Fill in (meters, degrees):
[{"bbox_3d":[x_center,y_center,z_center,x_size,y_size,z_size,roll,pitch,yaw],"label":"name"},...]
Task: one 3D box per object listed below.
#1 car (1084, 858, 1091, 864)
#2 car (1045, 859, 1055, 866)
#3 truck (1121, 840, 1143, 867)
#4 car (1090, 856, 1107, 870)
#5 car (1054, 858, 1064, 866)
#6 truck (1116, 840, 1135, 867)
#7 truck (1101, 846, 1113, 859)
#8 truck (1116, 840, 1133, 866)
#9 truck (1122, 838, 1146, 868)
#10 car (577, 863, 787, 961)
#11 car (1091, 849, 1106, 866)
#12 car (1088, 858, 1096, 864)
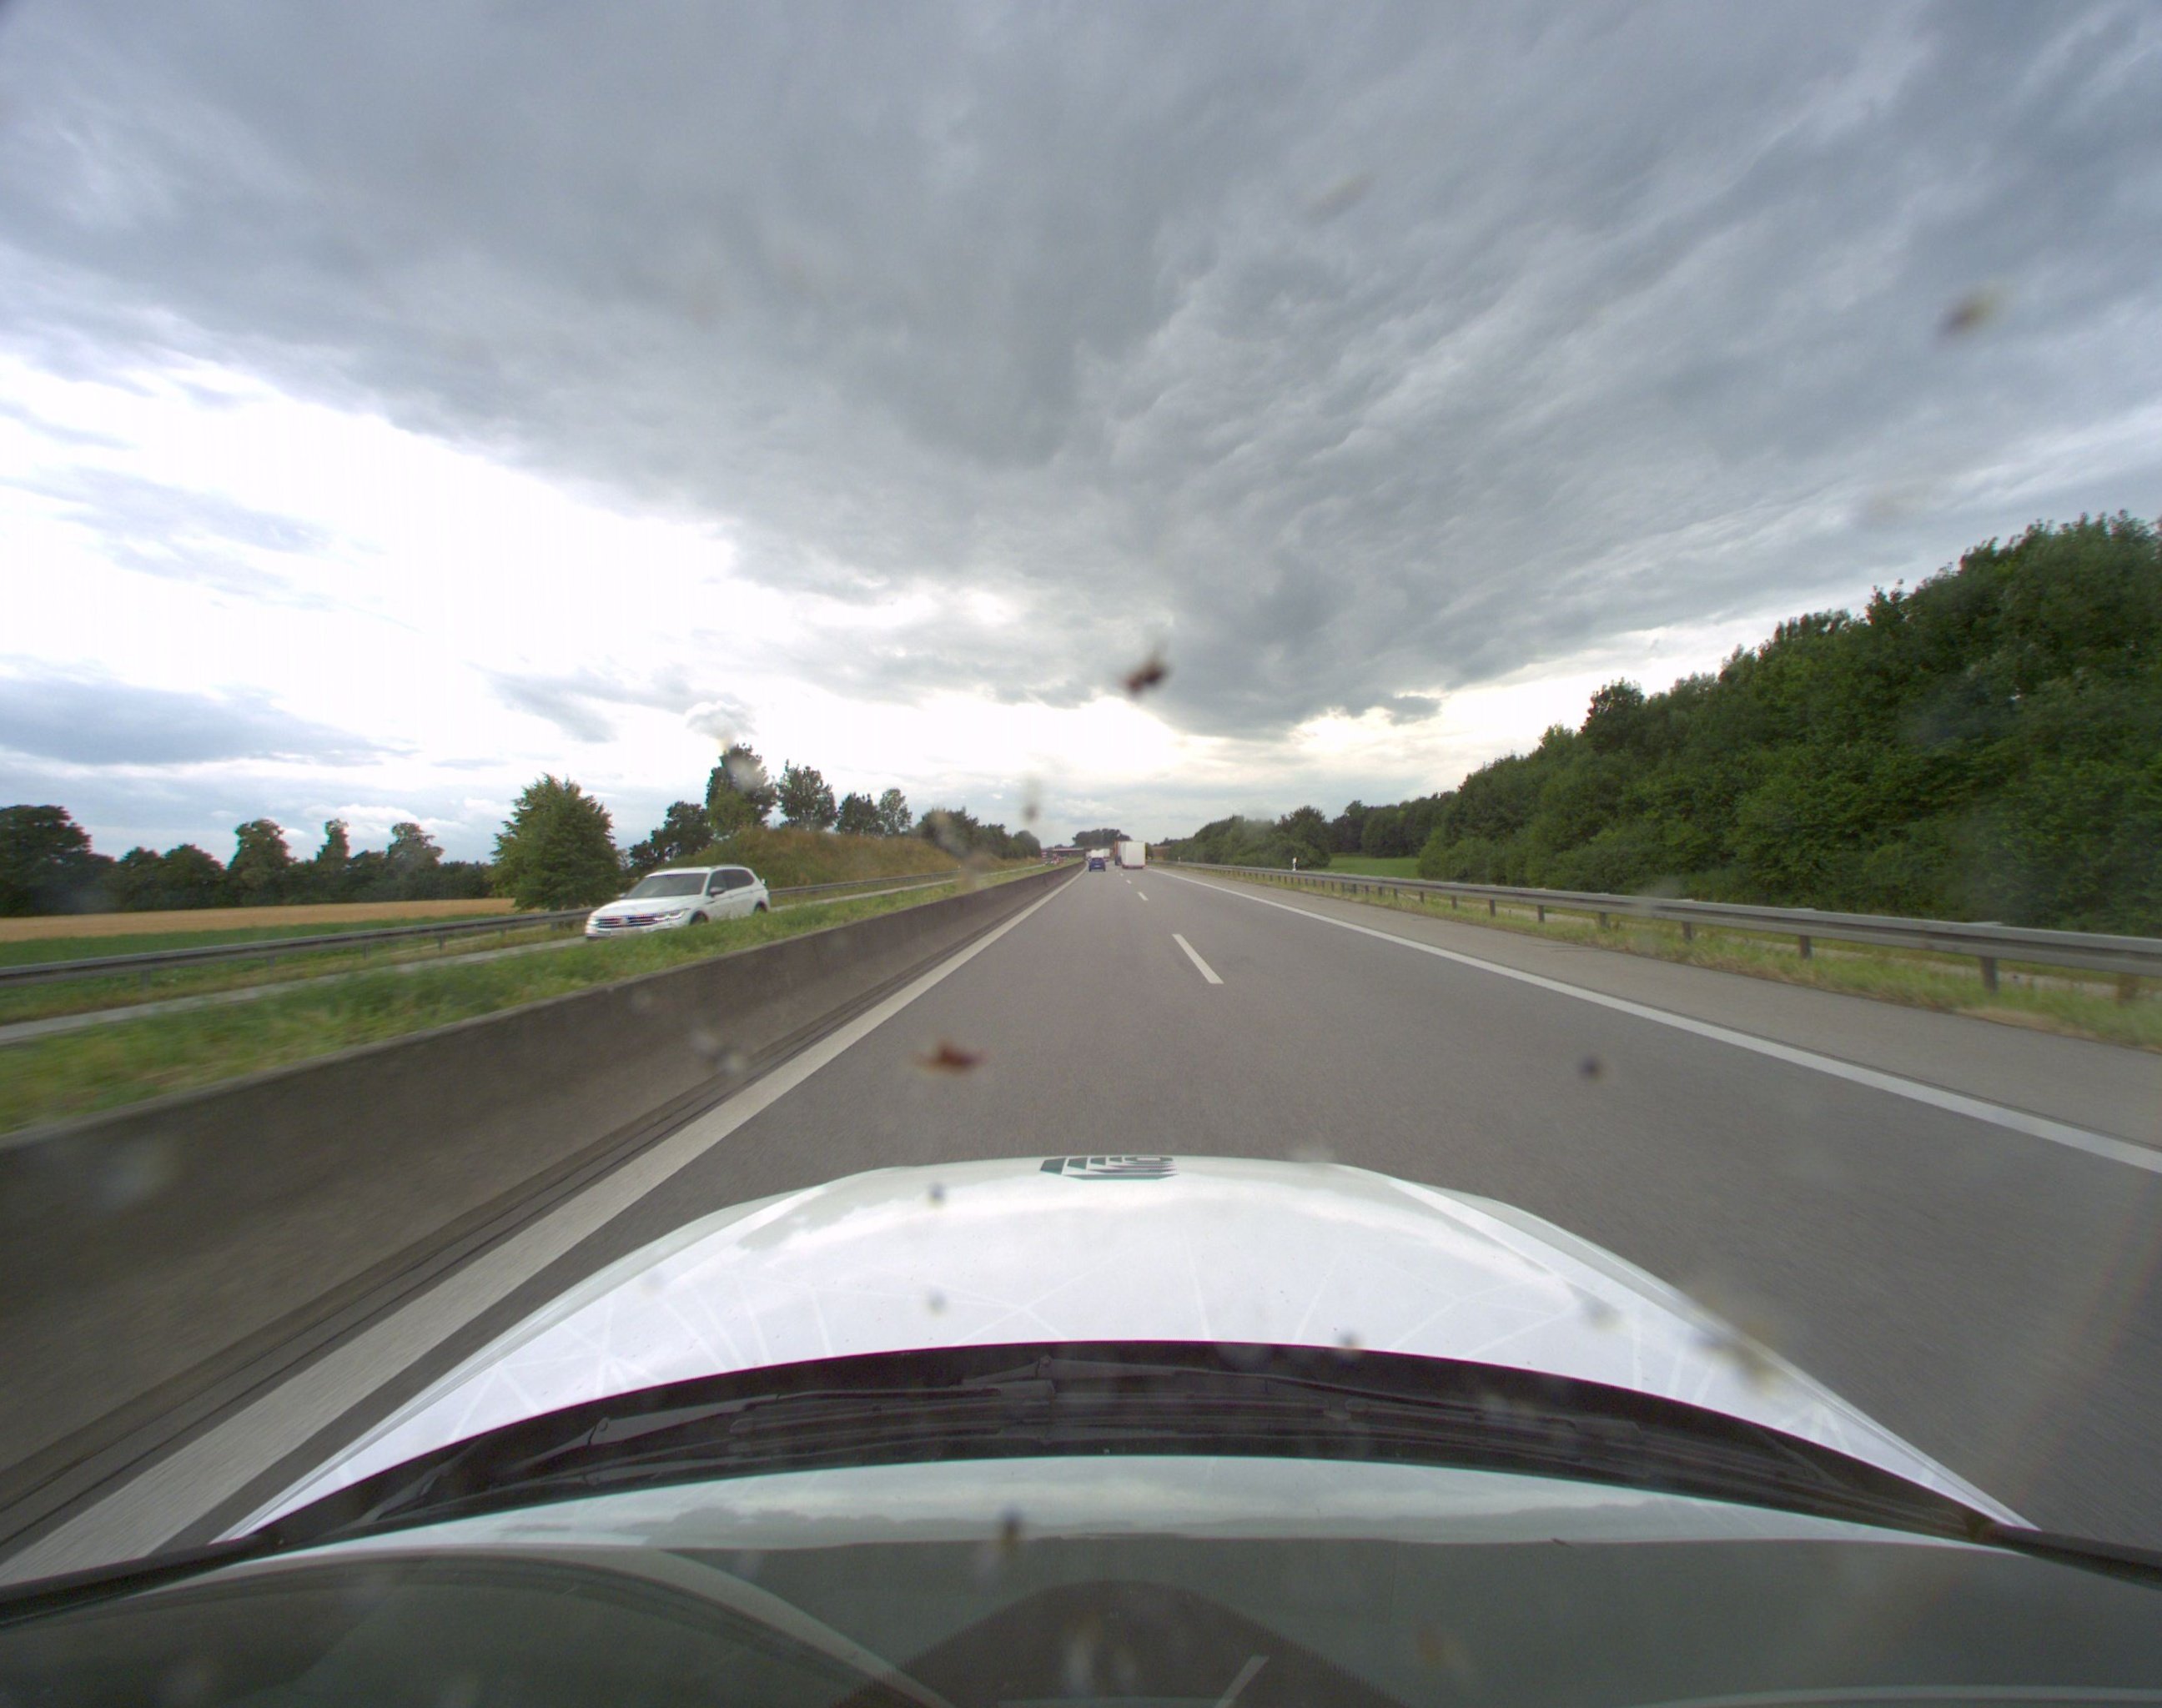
[{"bbox_3d":[1.915,1.940,240.411,1.988,1.684,3.997,-1,0,-2],"label":"car"},{"bbox_3d":[-7.283,2.011,191.825,1.839,1.497,4.580,-4,0,1],"label":"car"},{"bbox_3d":[6.256,-0.041,101.221,2.421,3.243,7.249,-1,0,1],"label":"truck"},{"bbox_3d":[1.767,0.927,83.464,1.658,1.407,3.649,-1,0,1],"label":"car"},{"bbox_3d":[-4.618,1.626,172.342,1.839,1.571,4.362,-3,0,1],"label":"car"},{"bbox_3d":[7.091,-0.146,130.954,2.663,4.045,11.111,-2,0,2],"label":"truck"},{"bbox_3d":[7.665,-0.367,243.226,3.101,3.689,9.320,-4,0,0],"label":"truck"},{"bbox_3d":[7.231,-0.161,136.286,2.663,4.045,5.514,-2,0,1],"label":"truck"},{"bbox_3d":[6.065,-0.097,94.029,2.406,3.222,7.145,-1,0,1],"label":"truck"},{"bbox_3d":[-7.877,1.040,16.690,1.859,1.574,4.694,-3,0,1],"label":"car"},{"bbox_3d":[2.519,0.507,121.280,2.123,2.483,5.839,-2,-1,1],"label":"car"},{"bbox_3d":[2.724,1.790,208.177,1.928,1.643,4.904,-2,-1,1],"label":"car"}]
